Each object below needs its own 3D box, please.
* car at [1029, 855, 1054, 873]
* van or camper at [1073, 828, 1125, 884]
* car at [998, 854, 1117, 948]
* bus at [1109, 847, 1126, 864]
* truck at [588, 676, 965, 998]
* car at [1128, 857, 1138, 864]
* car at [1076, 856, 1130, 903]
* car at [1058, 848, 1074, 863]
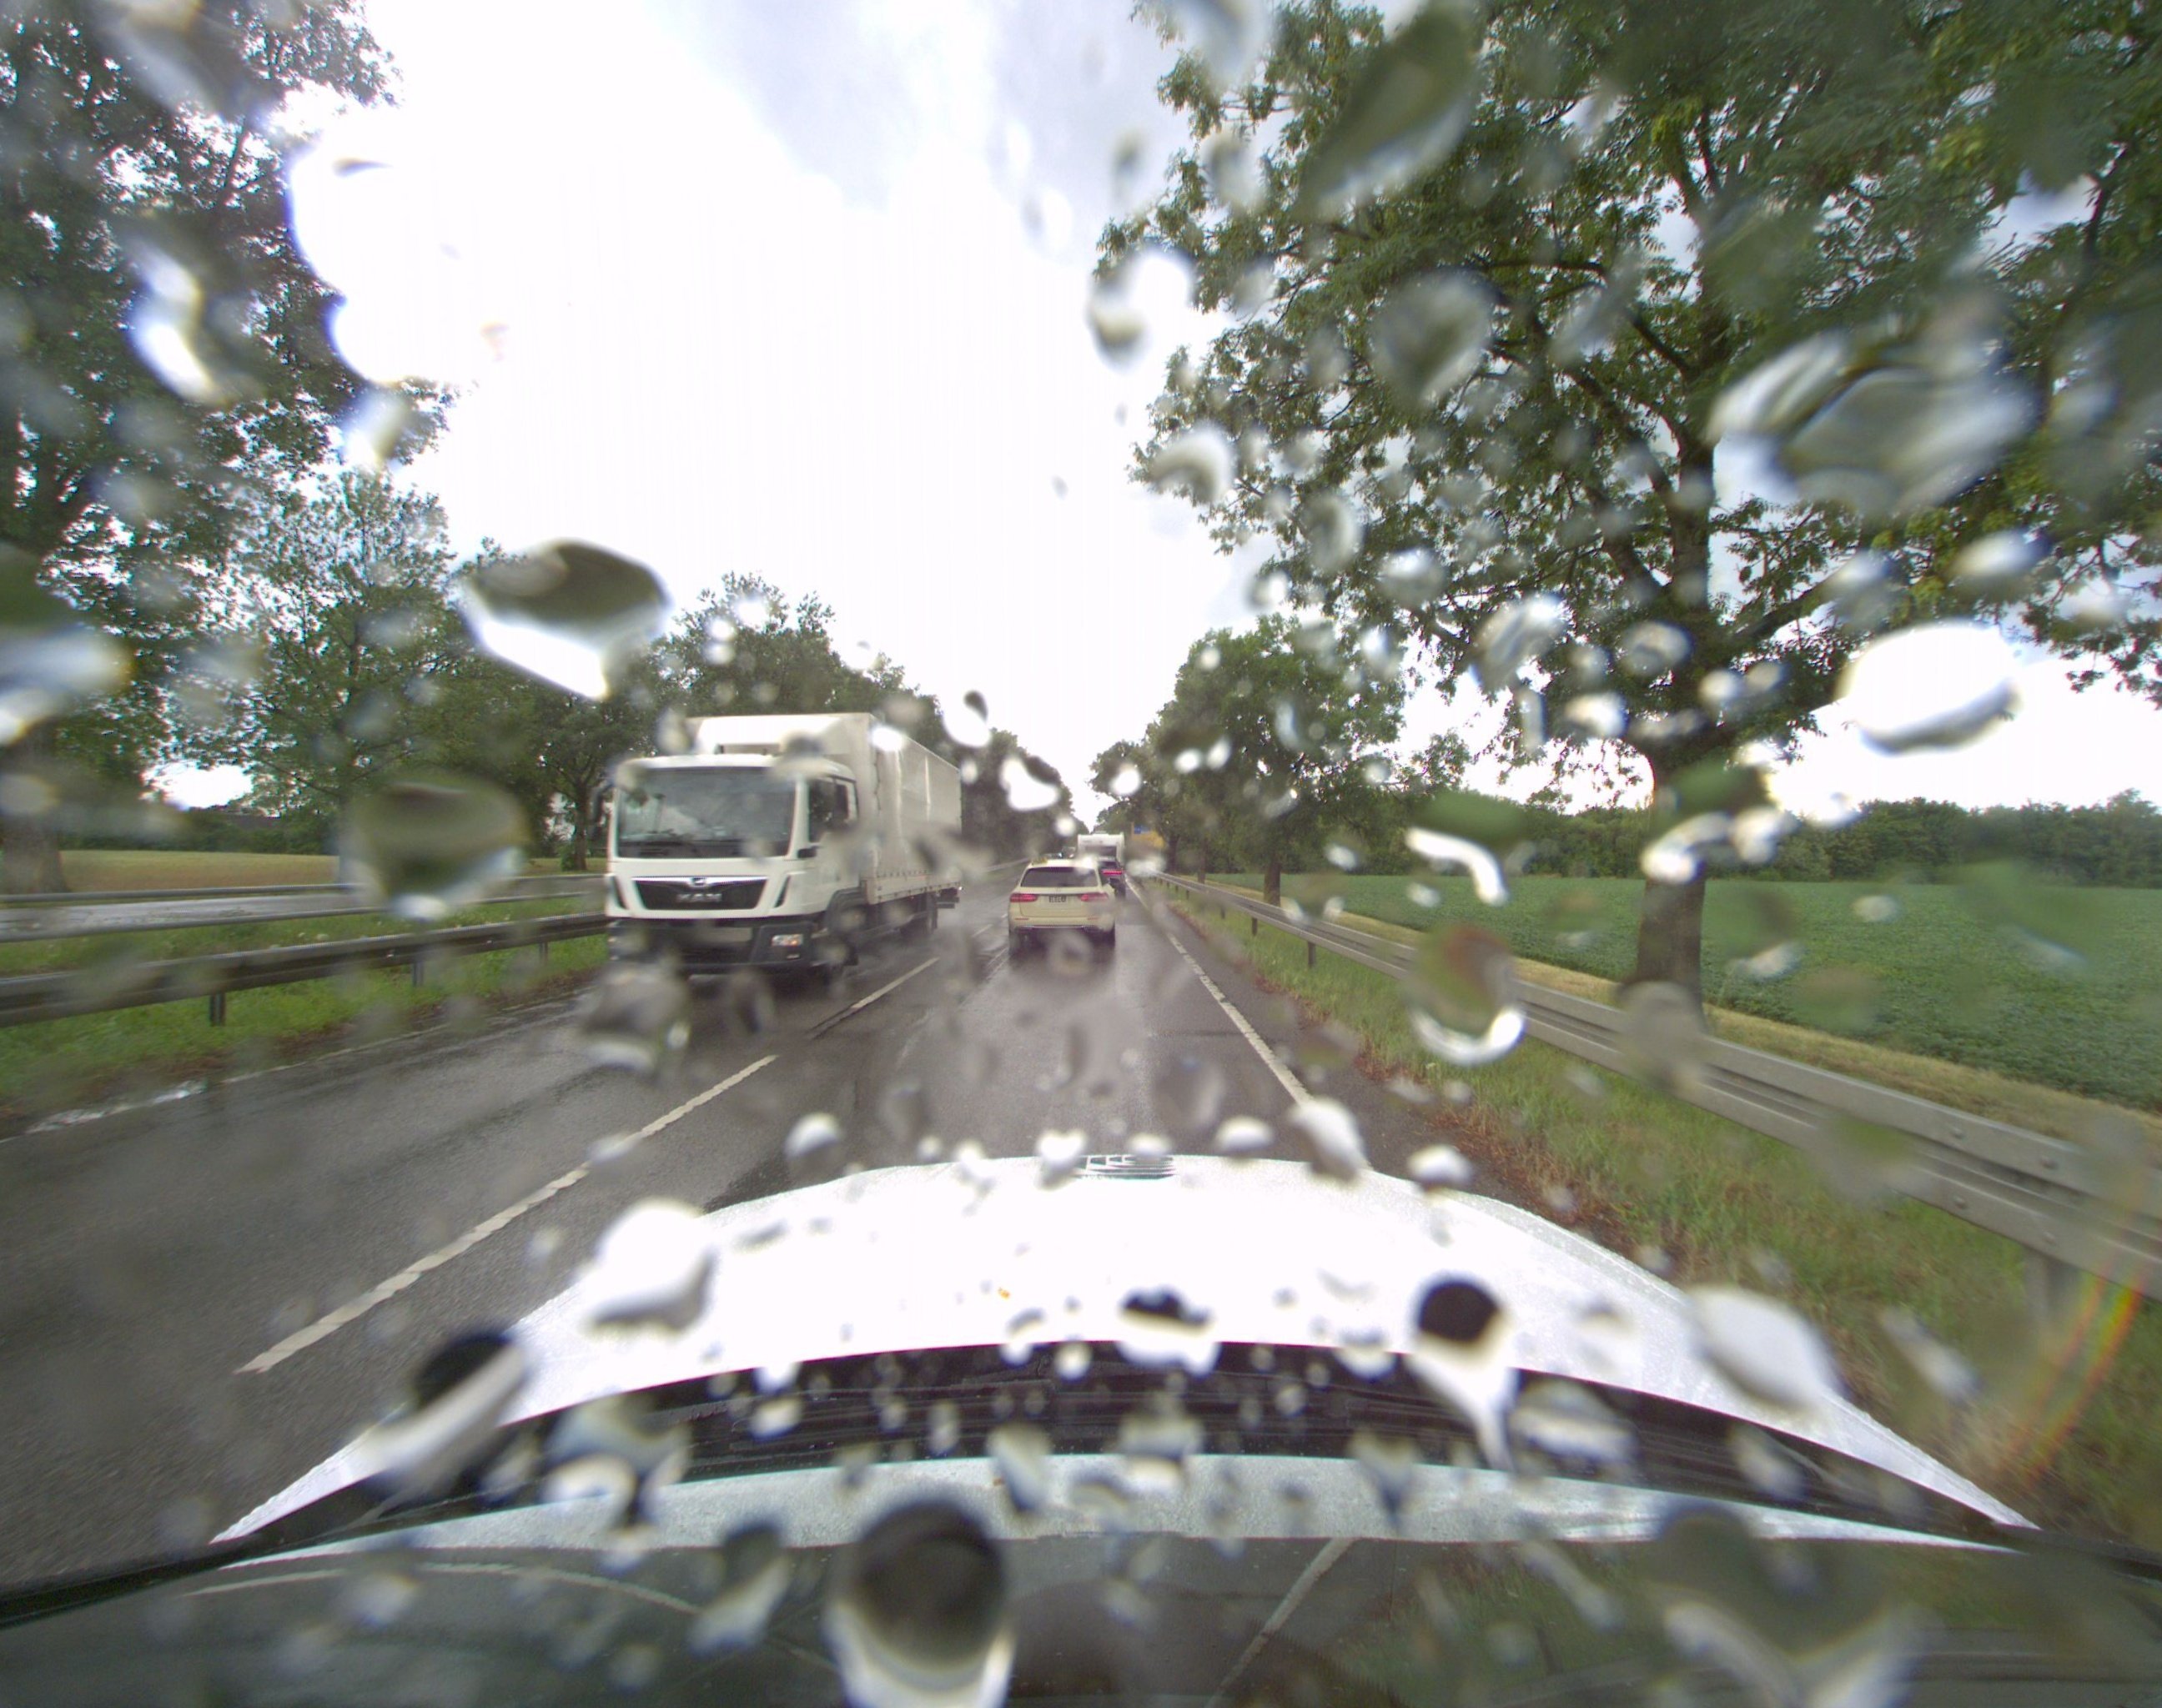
[{"bbox_3d":[-3.225,0.795,66.748,1.708,1.451,4.112,0,0,1],"label":"car"},{"bbox_3d":[1.012,0.104,42.140,2.479,2.685,5.704,0,0,3],"label":"van or camper"},{"bbox_3d":[-0.282,0.747,14.978,1.857,1.476,4.003,-1,0,3],"label":"car"},{"bbox_3d":[4.421,0.135,100.270,1.986,2.013,4.001,-1,0,1],"label":"bus"},{"bbox_3d":[-3.987,-0.193,13.625,2.567,3.452,9.556,-1,0,1],"label":"truck"},{"bbox_3d":[8.523,0.992,133.535,1.545,1.118,4.003,0,-1,3],"label":"car"},{"bbox_3d":[0.772,0.791,27.277,1.657,1.430,4.003,-1,0,3],"label":"car"},{"bbox_3d":[-1.939,0.227,103.647,1.821,1.803,4.416,-1,0,1],"label":"car"}]
